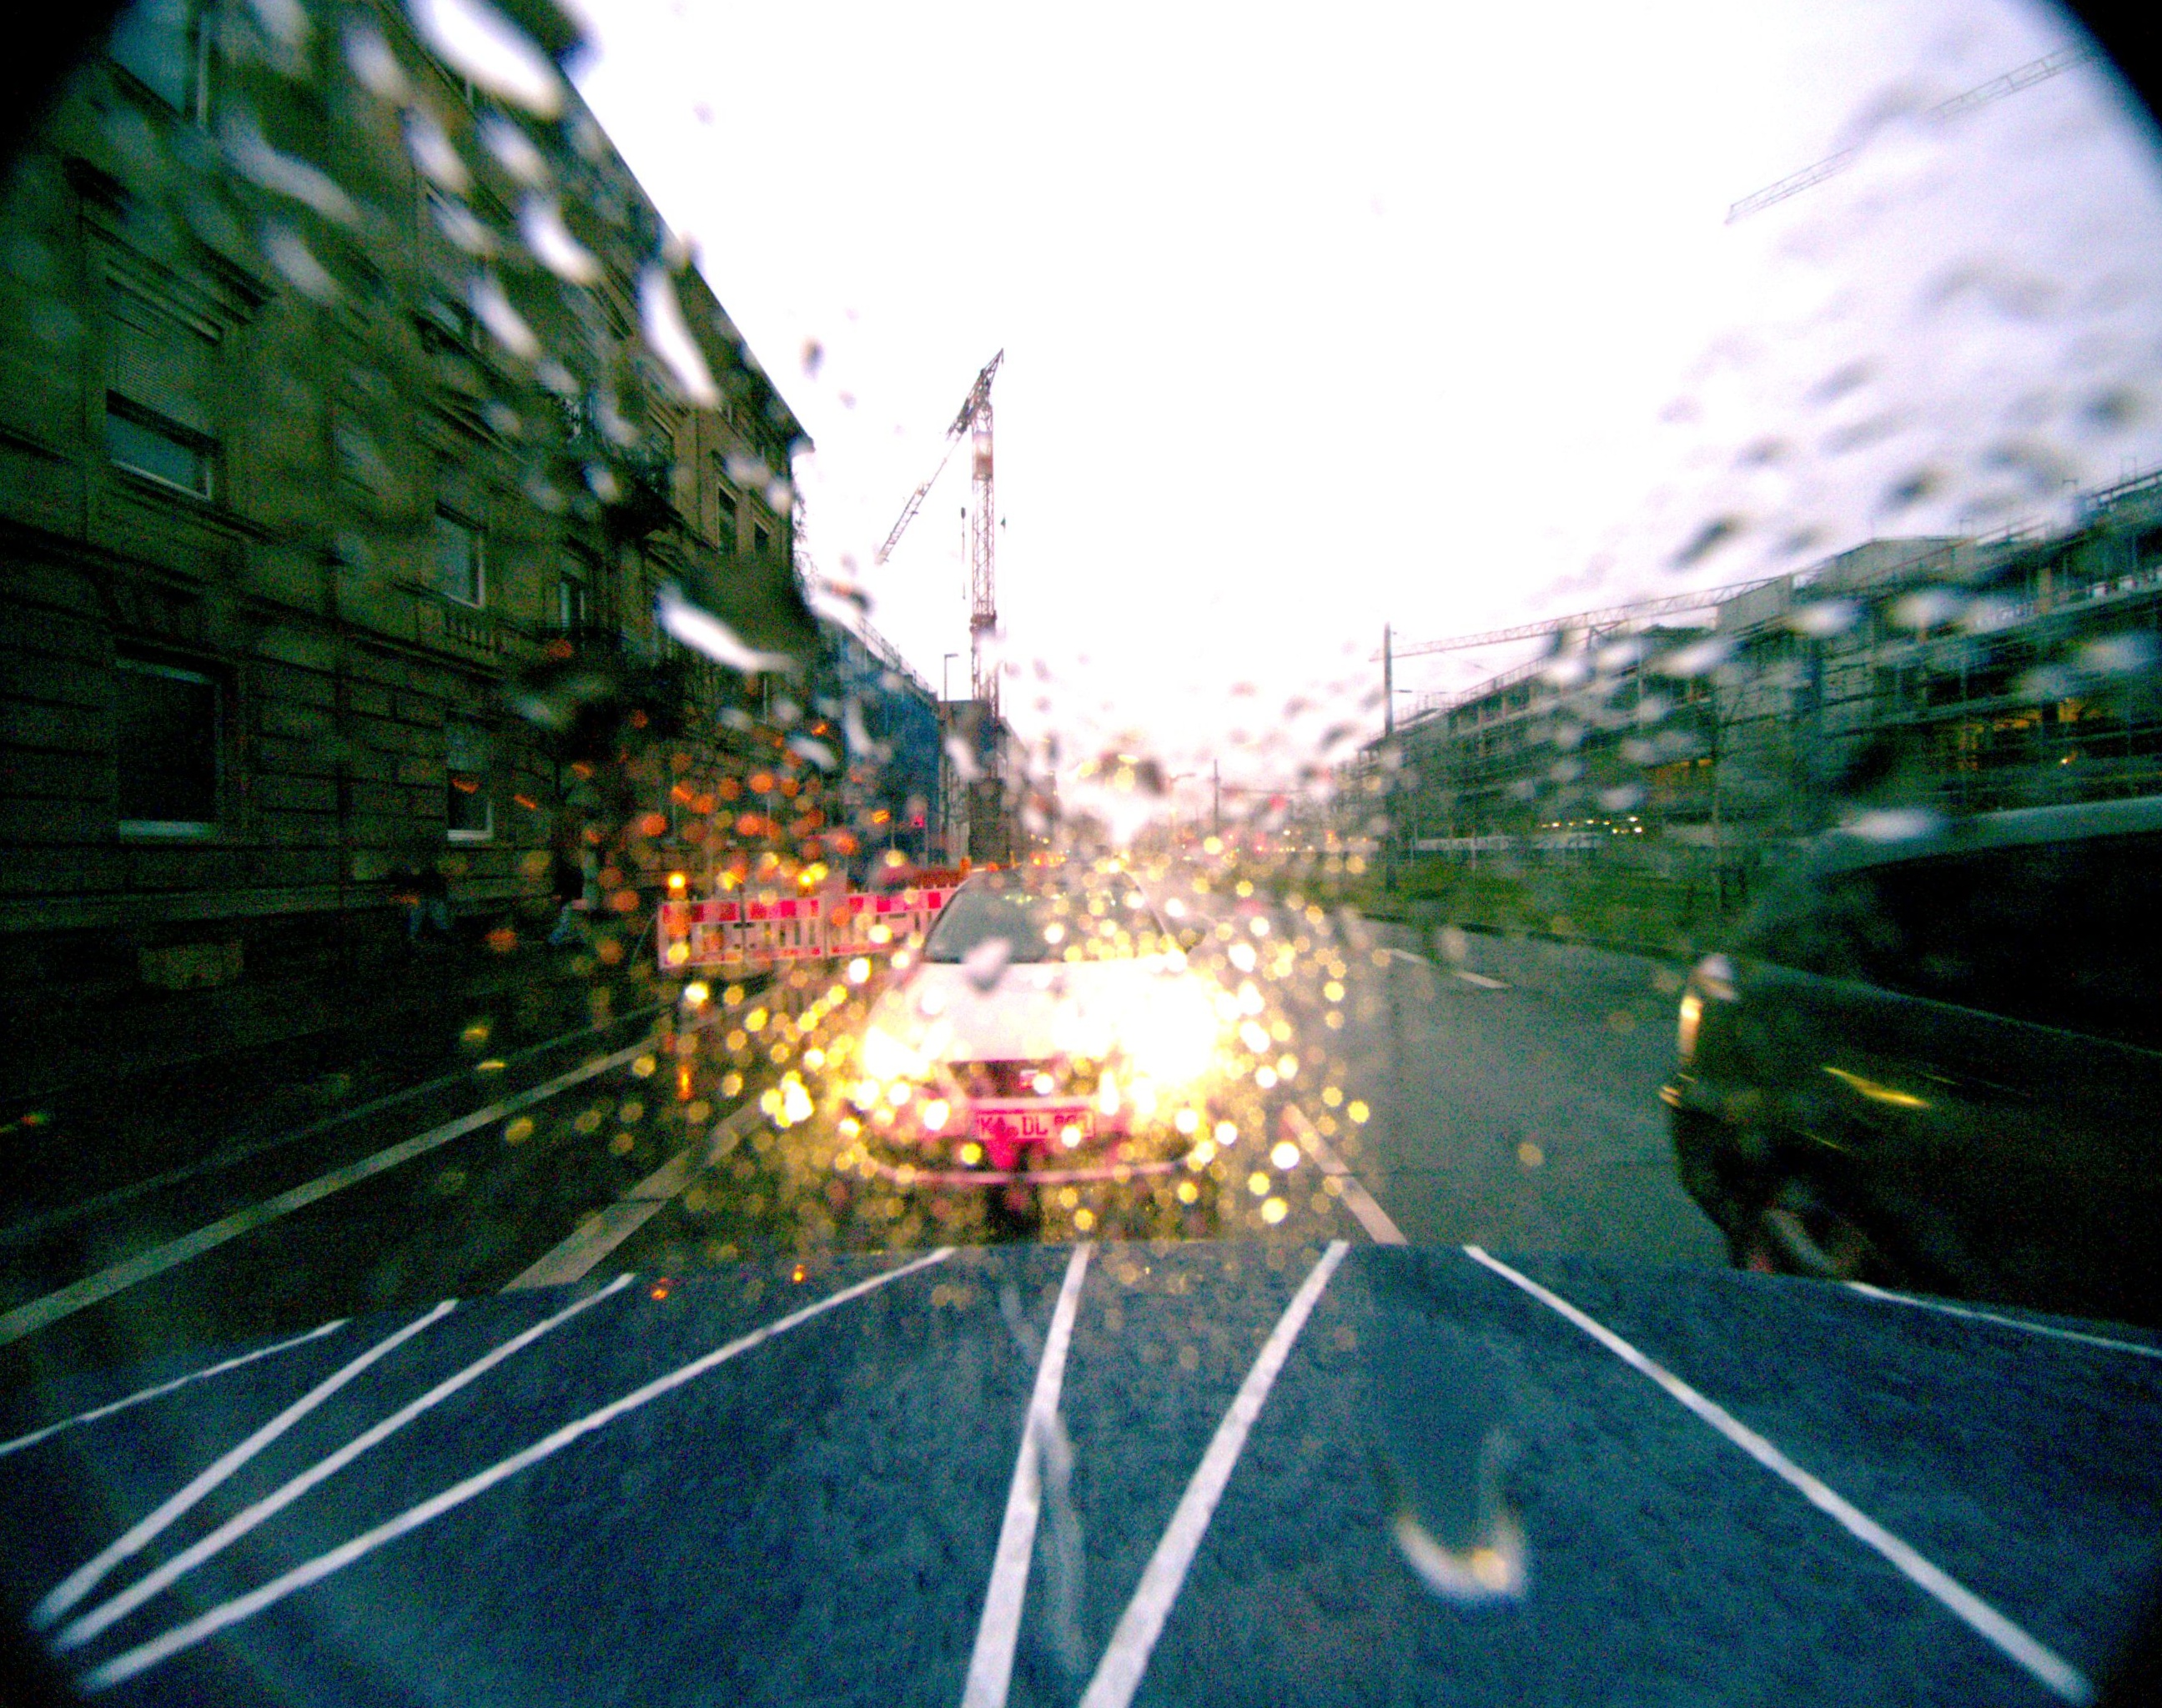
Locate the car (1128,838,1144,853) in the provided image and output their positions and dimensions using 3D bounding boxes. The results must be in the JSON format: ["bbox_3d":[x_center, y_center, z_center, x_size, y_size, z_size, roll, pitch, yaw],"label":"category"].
[{"bbox_3d":[6.304,-0.989,87.345,1.768,1.614,3.900,-3,1,4],"label":"car"}]

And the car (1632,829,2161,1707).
[{"bbox_3d":[2.682,0.767,0.327,1.815,1.636,4.134,-2,0,-1],"label":"car"}]

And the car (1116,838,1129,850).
[{"bbox_3d":[5.905,-1.377,107.037,1.768,1.614,3.900,-3,1,4],"label":"car"}]

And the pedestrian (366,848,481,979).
[{"bbox_3d":[-8.644,0.755,10.022,0.870,1.663,0.707,0,1,4],"label":"pedestrian"}]

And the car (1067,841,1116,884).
[{"bbox_3d":[0.401,0.276,30.424,1.769,1.504,3.899,-3,1,0],"label":"car"}]

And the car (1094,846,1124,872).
[{"bbox_3d":[1.797,0.287,49.768,1.769,1.504,3.899,-3,1,0],"label":"car"}]

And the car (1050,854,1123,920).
[{"bbox_3d":[0.128,0.822,20.976,1.769,1.504,3.899,-3,1,0],"label":"car"}]

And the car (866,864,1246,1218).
[{"bbox_3d":[-0.122,0.933,5.621,1.769,1.504,3.899,-3,1,0],"label":"car"}]

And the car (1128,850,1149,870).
[{"bbox_3d":[5.286,0.521,69.843,1.768,1.614,3.900,-3,1,4],"label":"car"}]

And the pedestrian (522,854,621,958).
[{"bbox_3d":[-7.840,0.779,11.734,0.870,1.536,0.929,0,1,1],"label":"pedestrian"}]
